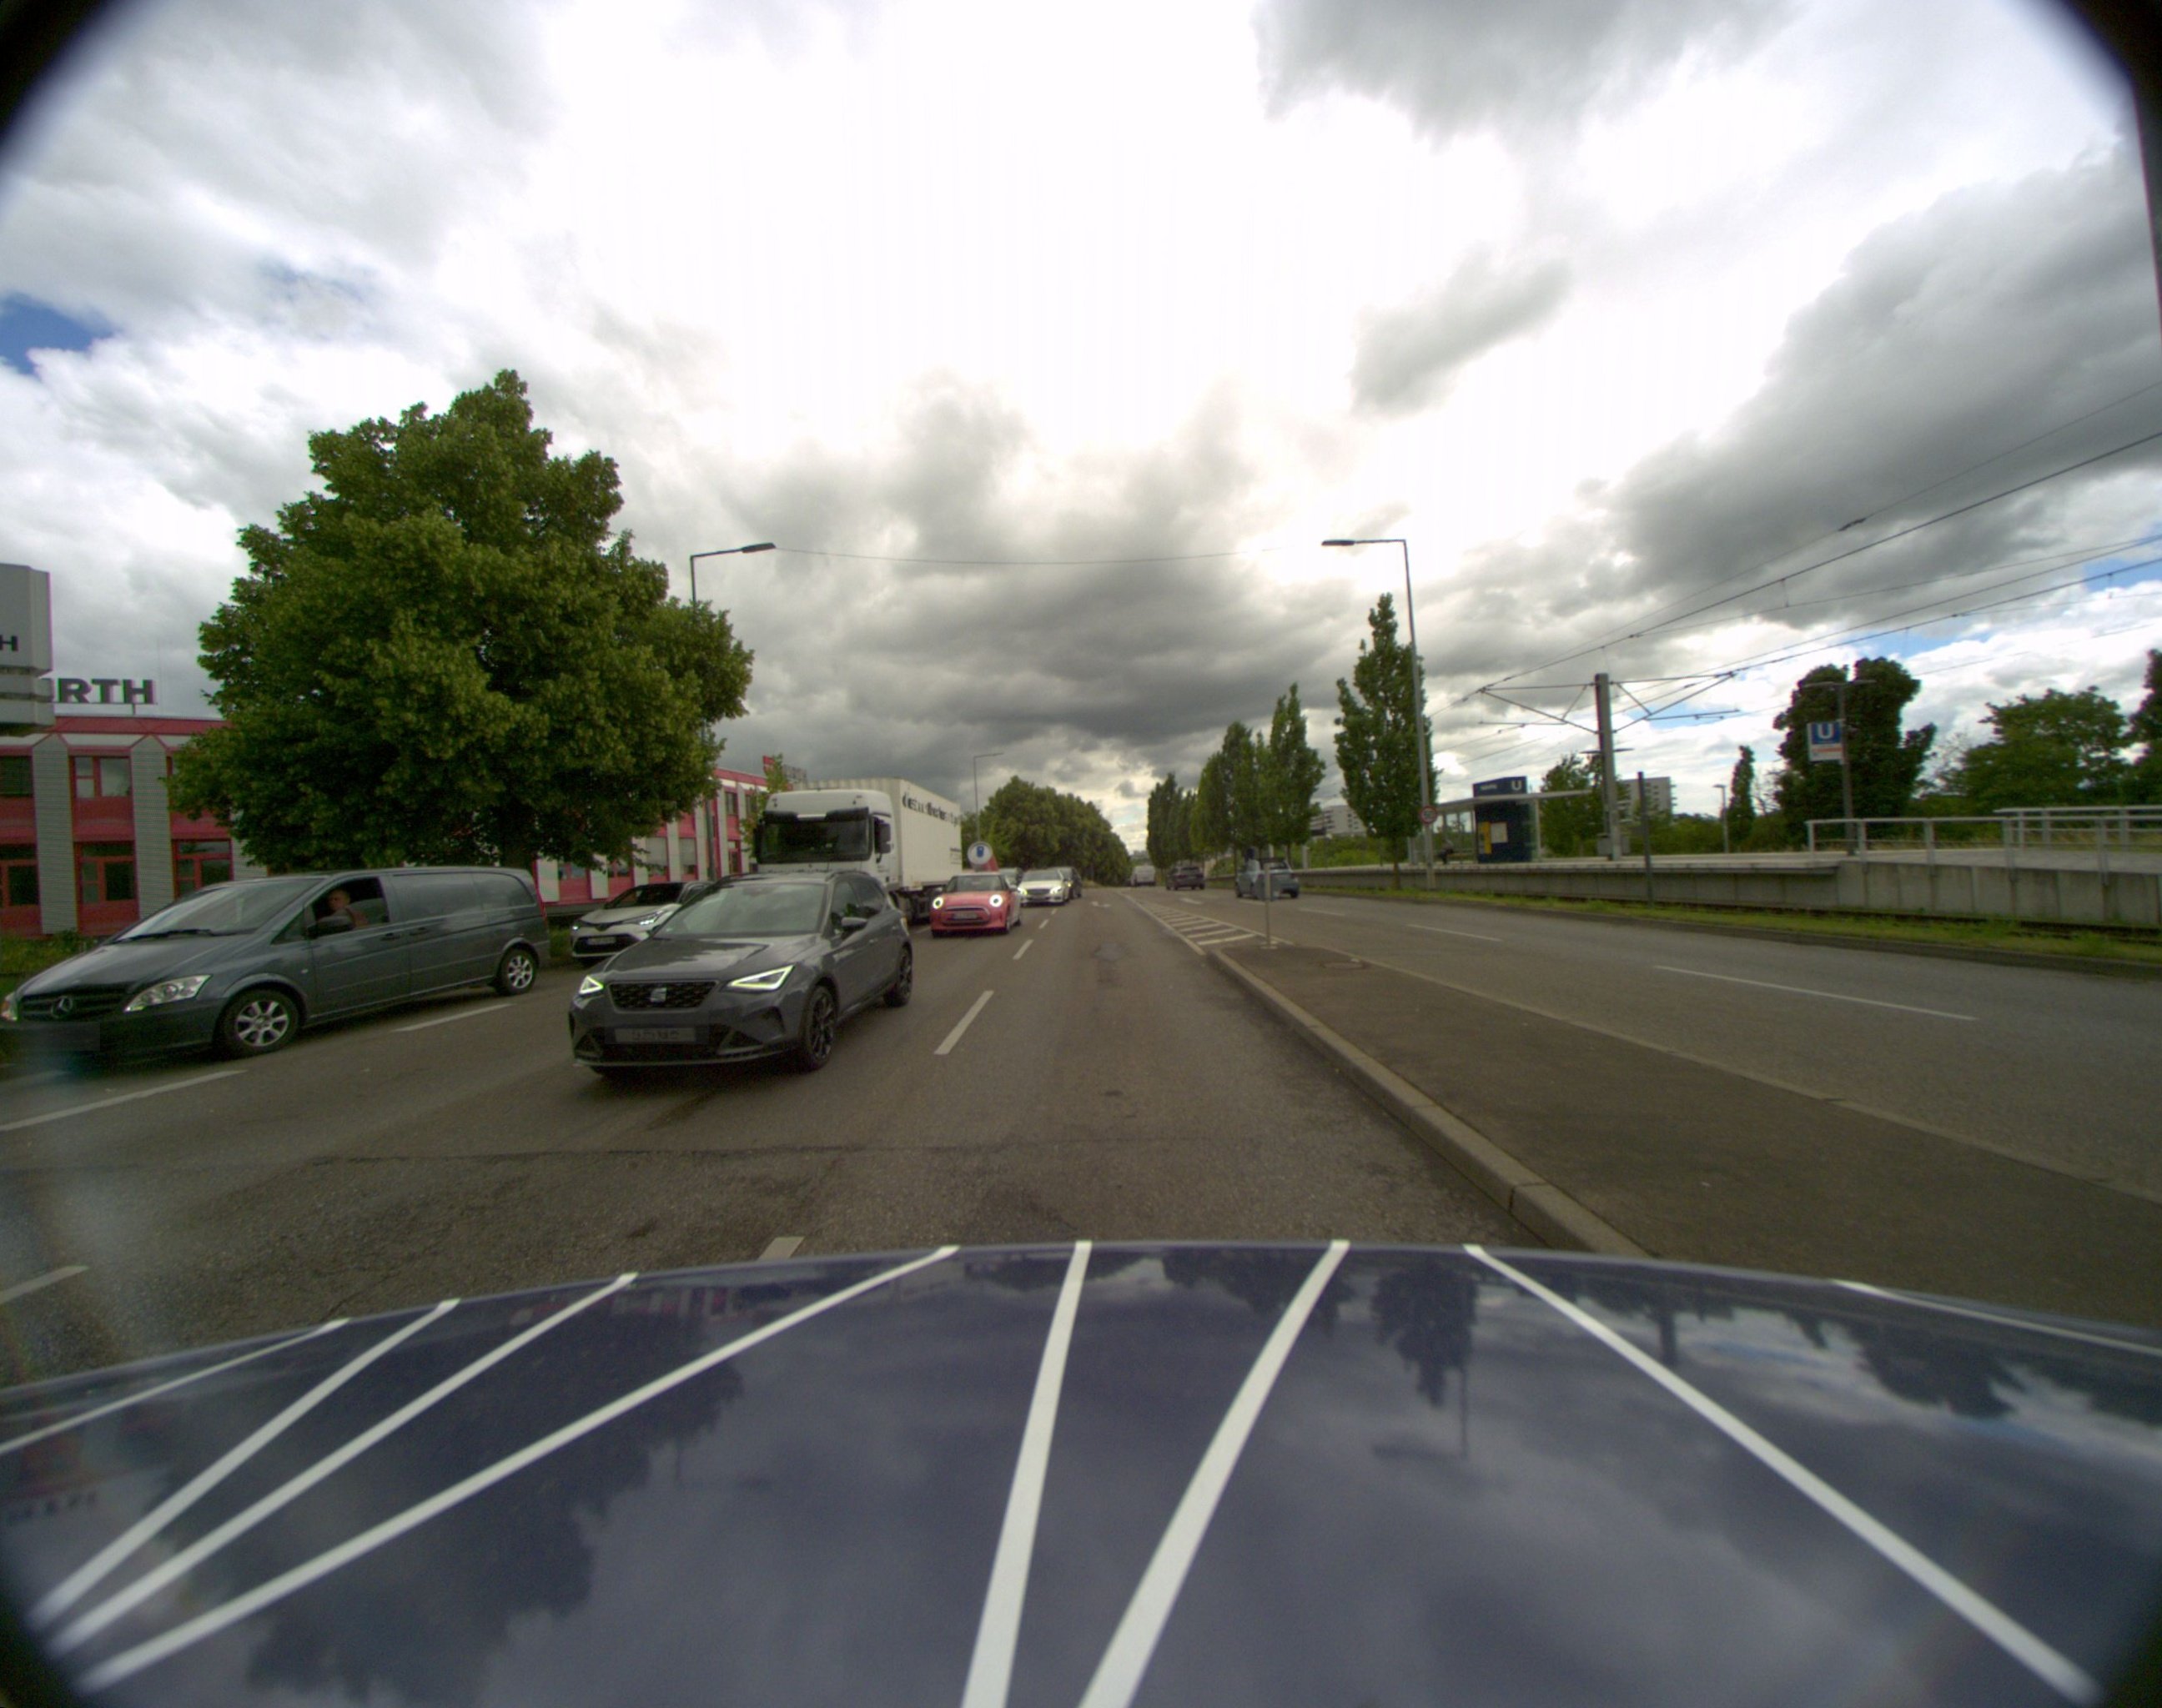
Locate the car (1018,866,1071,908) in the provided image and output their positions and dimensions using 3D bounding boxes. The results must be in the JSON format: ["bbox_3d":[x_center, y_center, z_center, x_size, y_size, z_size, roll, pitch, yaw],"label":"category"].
[{"bbox_3d":[-1.402,1.264,30.602,1.804,1.403,4.317,-2,1,1],"label":"car"}]

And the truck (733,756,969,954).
[{"bbox_3d":[-5.370,0.035,20.318,2.809,3.880,10.182,-2,0,2],"label":"truck"}]

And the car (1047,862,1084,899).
[{"bbox_3d":[-0.703,1.241,37.079,1.669,1.589,3.996,-2,1,0],"label":"car"}]

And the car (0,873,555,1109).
[{"bbox_3d":[-8.750,1.248,8.809,1.763,1.764,4.675,-6,0,2],"label":"car"}]

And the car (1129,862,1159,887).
[{"bbox_3d":[5.627,1.783,68.423,1.920,1.953,5.371,-2,1,-2],"label":"car"}]

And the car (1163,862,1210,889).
[{"bbox_3d":[6.295,1.263,45.687,1.876,1.416,4.430,-2,1,-4],"label":"car"}]

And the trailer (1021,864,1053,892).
[{"bbox_3d":[-2.961,1.601,52.146,1.775,1.650,3.996,-2,2,1],"label":"trailer"}]

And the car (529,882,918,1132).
[{"bbox_3d":[-2.757,1.074,6.898,1.628,1.484,3.838,-2,-1,1],"label":"car"}]

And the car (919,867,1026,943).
[{"bbox_3d":[-2.423,1.107,17.797,1.825,1.497,3.495,-2,0,2],"label":"car"}]

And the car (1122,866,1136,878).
[{"bbox_3d":[6.148,2.285,97.224,1.699,1.440,3.661,-2,0,3],"label":"car"}]

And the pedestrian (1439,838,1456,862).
[{"bbox_3d":[17.697,-0.190,36.707,0.601,1.148,0.447,-2,1,1],"label":"pedestrian"}]

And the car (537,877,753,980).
[{"bbox_3d":[-8.596,1.384,15.477,1.844,1.507,4.106,-6,0,1],"label":"car"}]

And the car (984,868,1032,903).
[{"bbox_3d":[-3.768,1.625,40.002,1.797,1.521,4.219,-2,1,4],"label":"car"}]

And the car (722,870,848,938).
[{"bbox_3d":[-8.448,1.374,22.151,1.865,1.648,4.209,-4,-1,1],"label":"car"}]

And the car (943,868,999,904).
[{"bbox_3d":[-5.012,1.429,35.220,1.851,1.521,4.377,-2,-1,0],"label":"car"}]

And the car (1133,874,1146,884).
[{"bbox_3d":[9.129,3.868,118.330,1.699,1.440,3.937,-2,-1,8],"label":"car"}]

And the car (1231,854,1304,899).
[{"bbox_3d":[7.117,0.827,29.319,1.761,1.519,3.599,-2,1,-3],"label":"car"}]
